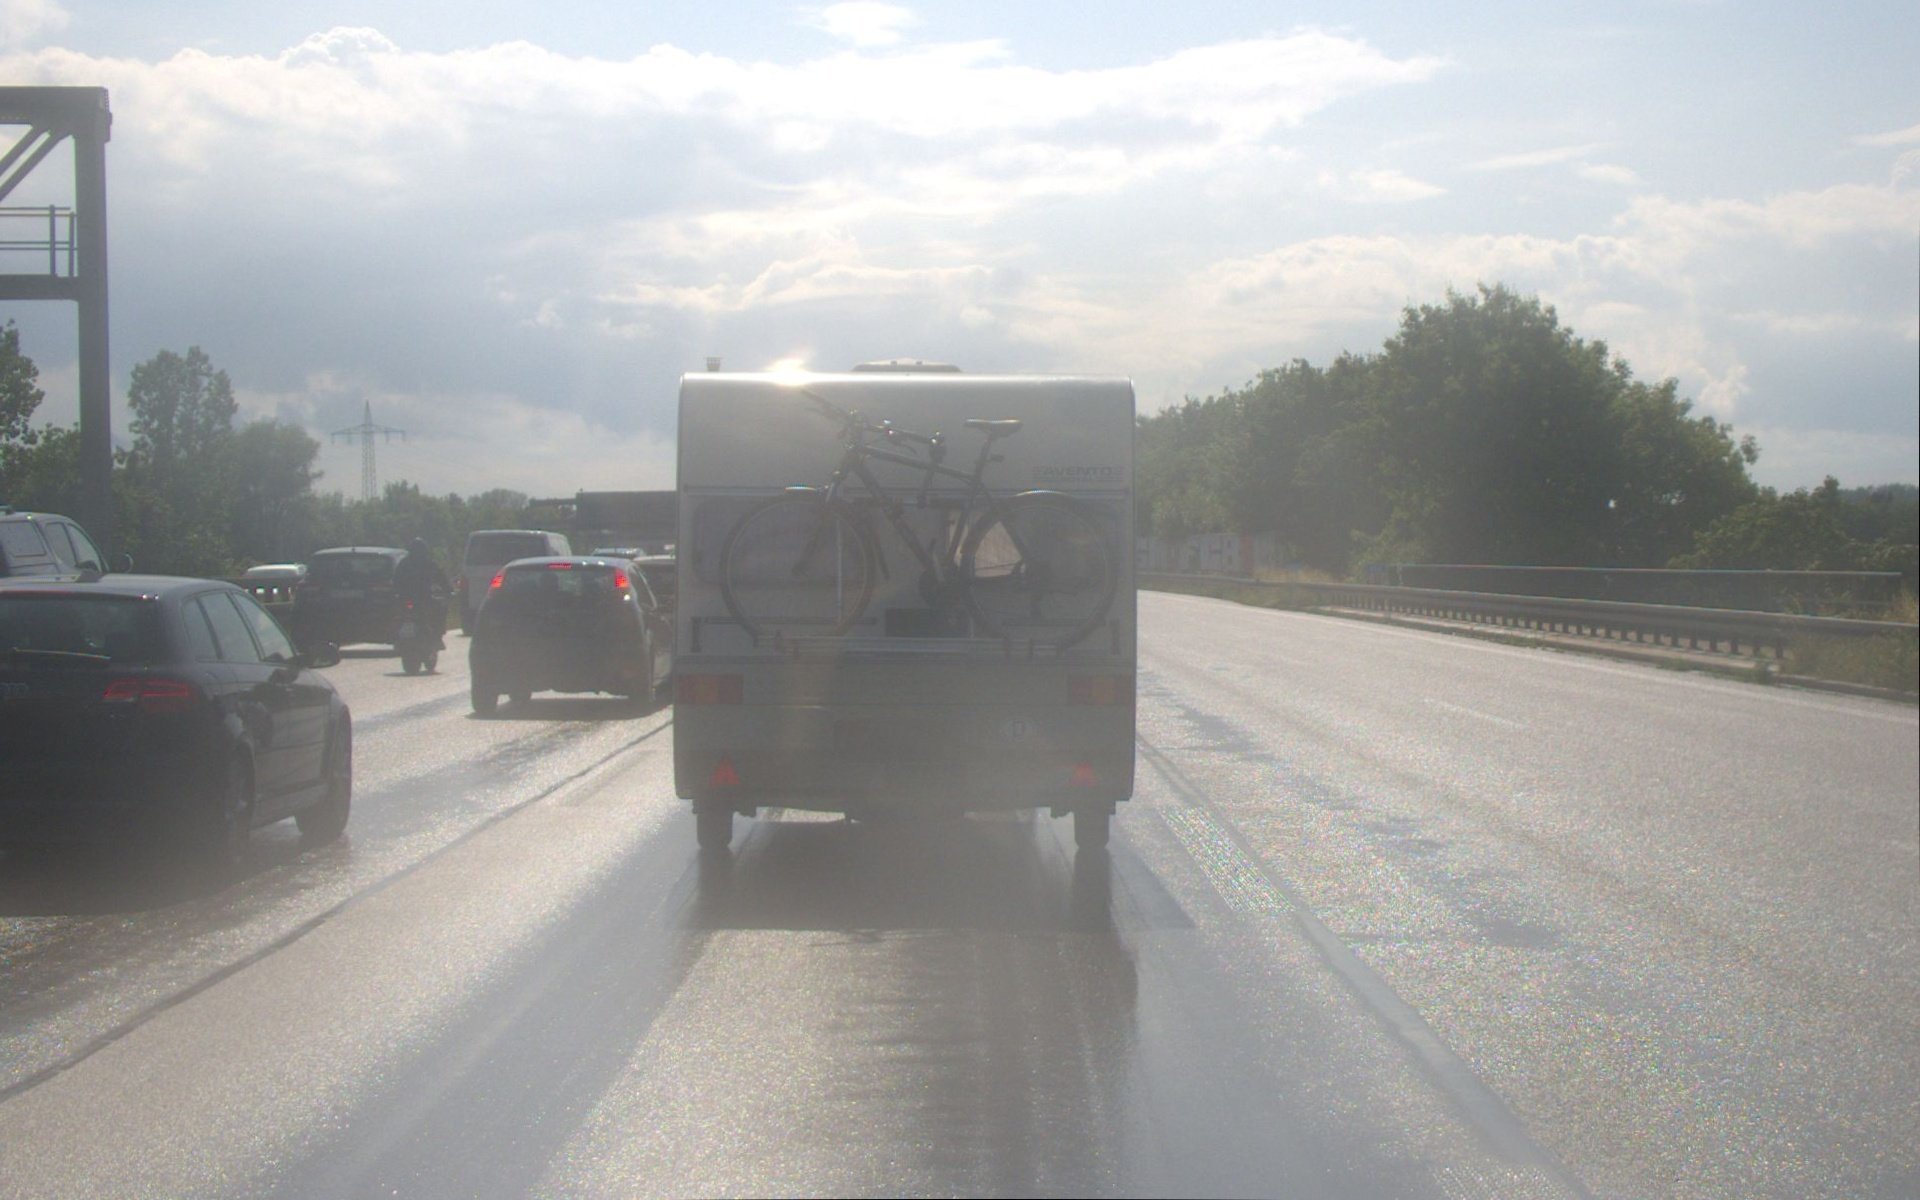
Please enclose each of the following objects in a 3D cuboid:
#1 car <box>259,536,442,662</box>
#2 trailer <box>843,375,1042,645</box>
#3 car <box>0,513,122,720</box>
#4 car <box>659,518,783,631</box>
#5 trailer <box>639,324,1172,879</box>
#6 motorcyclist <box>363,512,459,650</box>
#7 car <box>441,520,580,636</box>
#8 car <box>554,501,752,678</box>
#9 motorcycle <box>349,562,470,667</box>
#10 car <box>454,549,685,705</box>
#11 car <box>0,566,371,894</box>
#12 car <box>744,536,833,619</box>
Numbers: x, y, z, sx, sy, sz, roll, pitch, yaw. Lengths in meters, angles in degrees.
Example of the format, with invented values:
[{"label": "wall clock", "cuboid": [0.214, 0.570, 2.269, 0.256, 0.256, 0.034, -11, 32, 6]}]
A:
[{"label": "car", "cuboid": [-9.095, -0.043, 51.604, 1.993, 1.766, 4.000, 2, 1, 0]}, {"label": "trailer", "cuboid": [-0.172, -1.450, 57.642, 3.007, 4.152, 8.536, 1, 1, 2]}, {"label": "car", "cuboid": [-8.856, 0.101, 30.452, 1.993, 1.714, 4.000, 1, 1, -2]}, {"label": "car", "cuboid": [-4.414, -0.487, 64.036, 1.993, 2.007, 4.000, 1, 1, 0]}, {"label": "trailer", "cuboid": [-0.282, -0.027, 18.788, 2.374, 2.475, 6.523, 1, 1, -1]}, {"label": "motorcyclist", "cuboid": [-6.878, -0.241, 43.114, 1.064, 1.712, 0.785, 0, 0, 0]}, {"label": "car", "cuboid": [-8.533, -0.431, 65.545, 1.993, 2.007, 4.000, 4, 1, 0]}, {"label": "car", "cuboid": [-3.657, -0.148, 41.567, 1.993, 2.007, 4.000, 1, 1, 0]}, {"label": "motorcycle", "cuboid": [-6.879, 0.163, 43.078, 1.074, 1.267, 2.690, 0, 1, 0]}, {"label": "car", "cuboid": [-3.746, 0.229, 33.593, 1.806, 1.402, 4.000, 1, 1, 0]}, {"label": "car", "cuboid": [-4.094, 0.539, 16.718, 1.757, 1.382, 3.945, 0, 1, 0]}, {"label": "car", "cuboid": [-4.225, -0.565, 85.257, 1.993, 2.007, 4.000, 0, 1, 0]}]
